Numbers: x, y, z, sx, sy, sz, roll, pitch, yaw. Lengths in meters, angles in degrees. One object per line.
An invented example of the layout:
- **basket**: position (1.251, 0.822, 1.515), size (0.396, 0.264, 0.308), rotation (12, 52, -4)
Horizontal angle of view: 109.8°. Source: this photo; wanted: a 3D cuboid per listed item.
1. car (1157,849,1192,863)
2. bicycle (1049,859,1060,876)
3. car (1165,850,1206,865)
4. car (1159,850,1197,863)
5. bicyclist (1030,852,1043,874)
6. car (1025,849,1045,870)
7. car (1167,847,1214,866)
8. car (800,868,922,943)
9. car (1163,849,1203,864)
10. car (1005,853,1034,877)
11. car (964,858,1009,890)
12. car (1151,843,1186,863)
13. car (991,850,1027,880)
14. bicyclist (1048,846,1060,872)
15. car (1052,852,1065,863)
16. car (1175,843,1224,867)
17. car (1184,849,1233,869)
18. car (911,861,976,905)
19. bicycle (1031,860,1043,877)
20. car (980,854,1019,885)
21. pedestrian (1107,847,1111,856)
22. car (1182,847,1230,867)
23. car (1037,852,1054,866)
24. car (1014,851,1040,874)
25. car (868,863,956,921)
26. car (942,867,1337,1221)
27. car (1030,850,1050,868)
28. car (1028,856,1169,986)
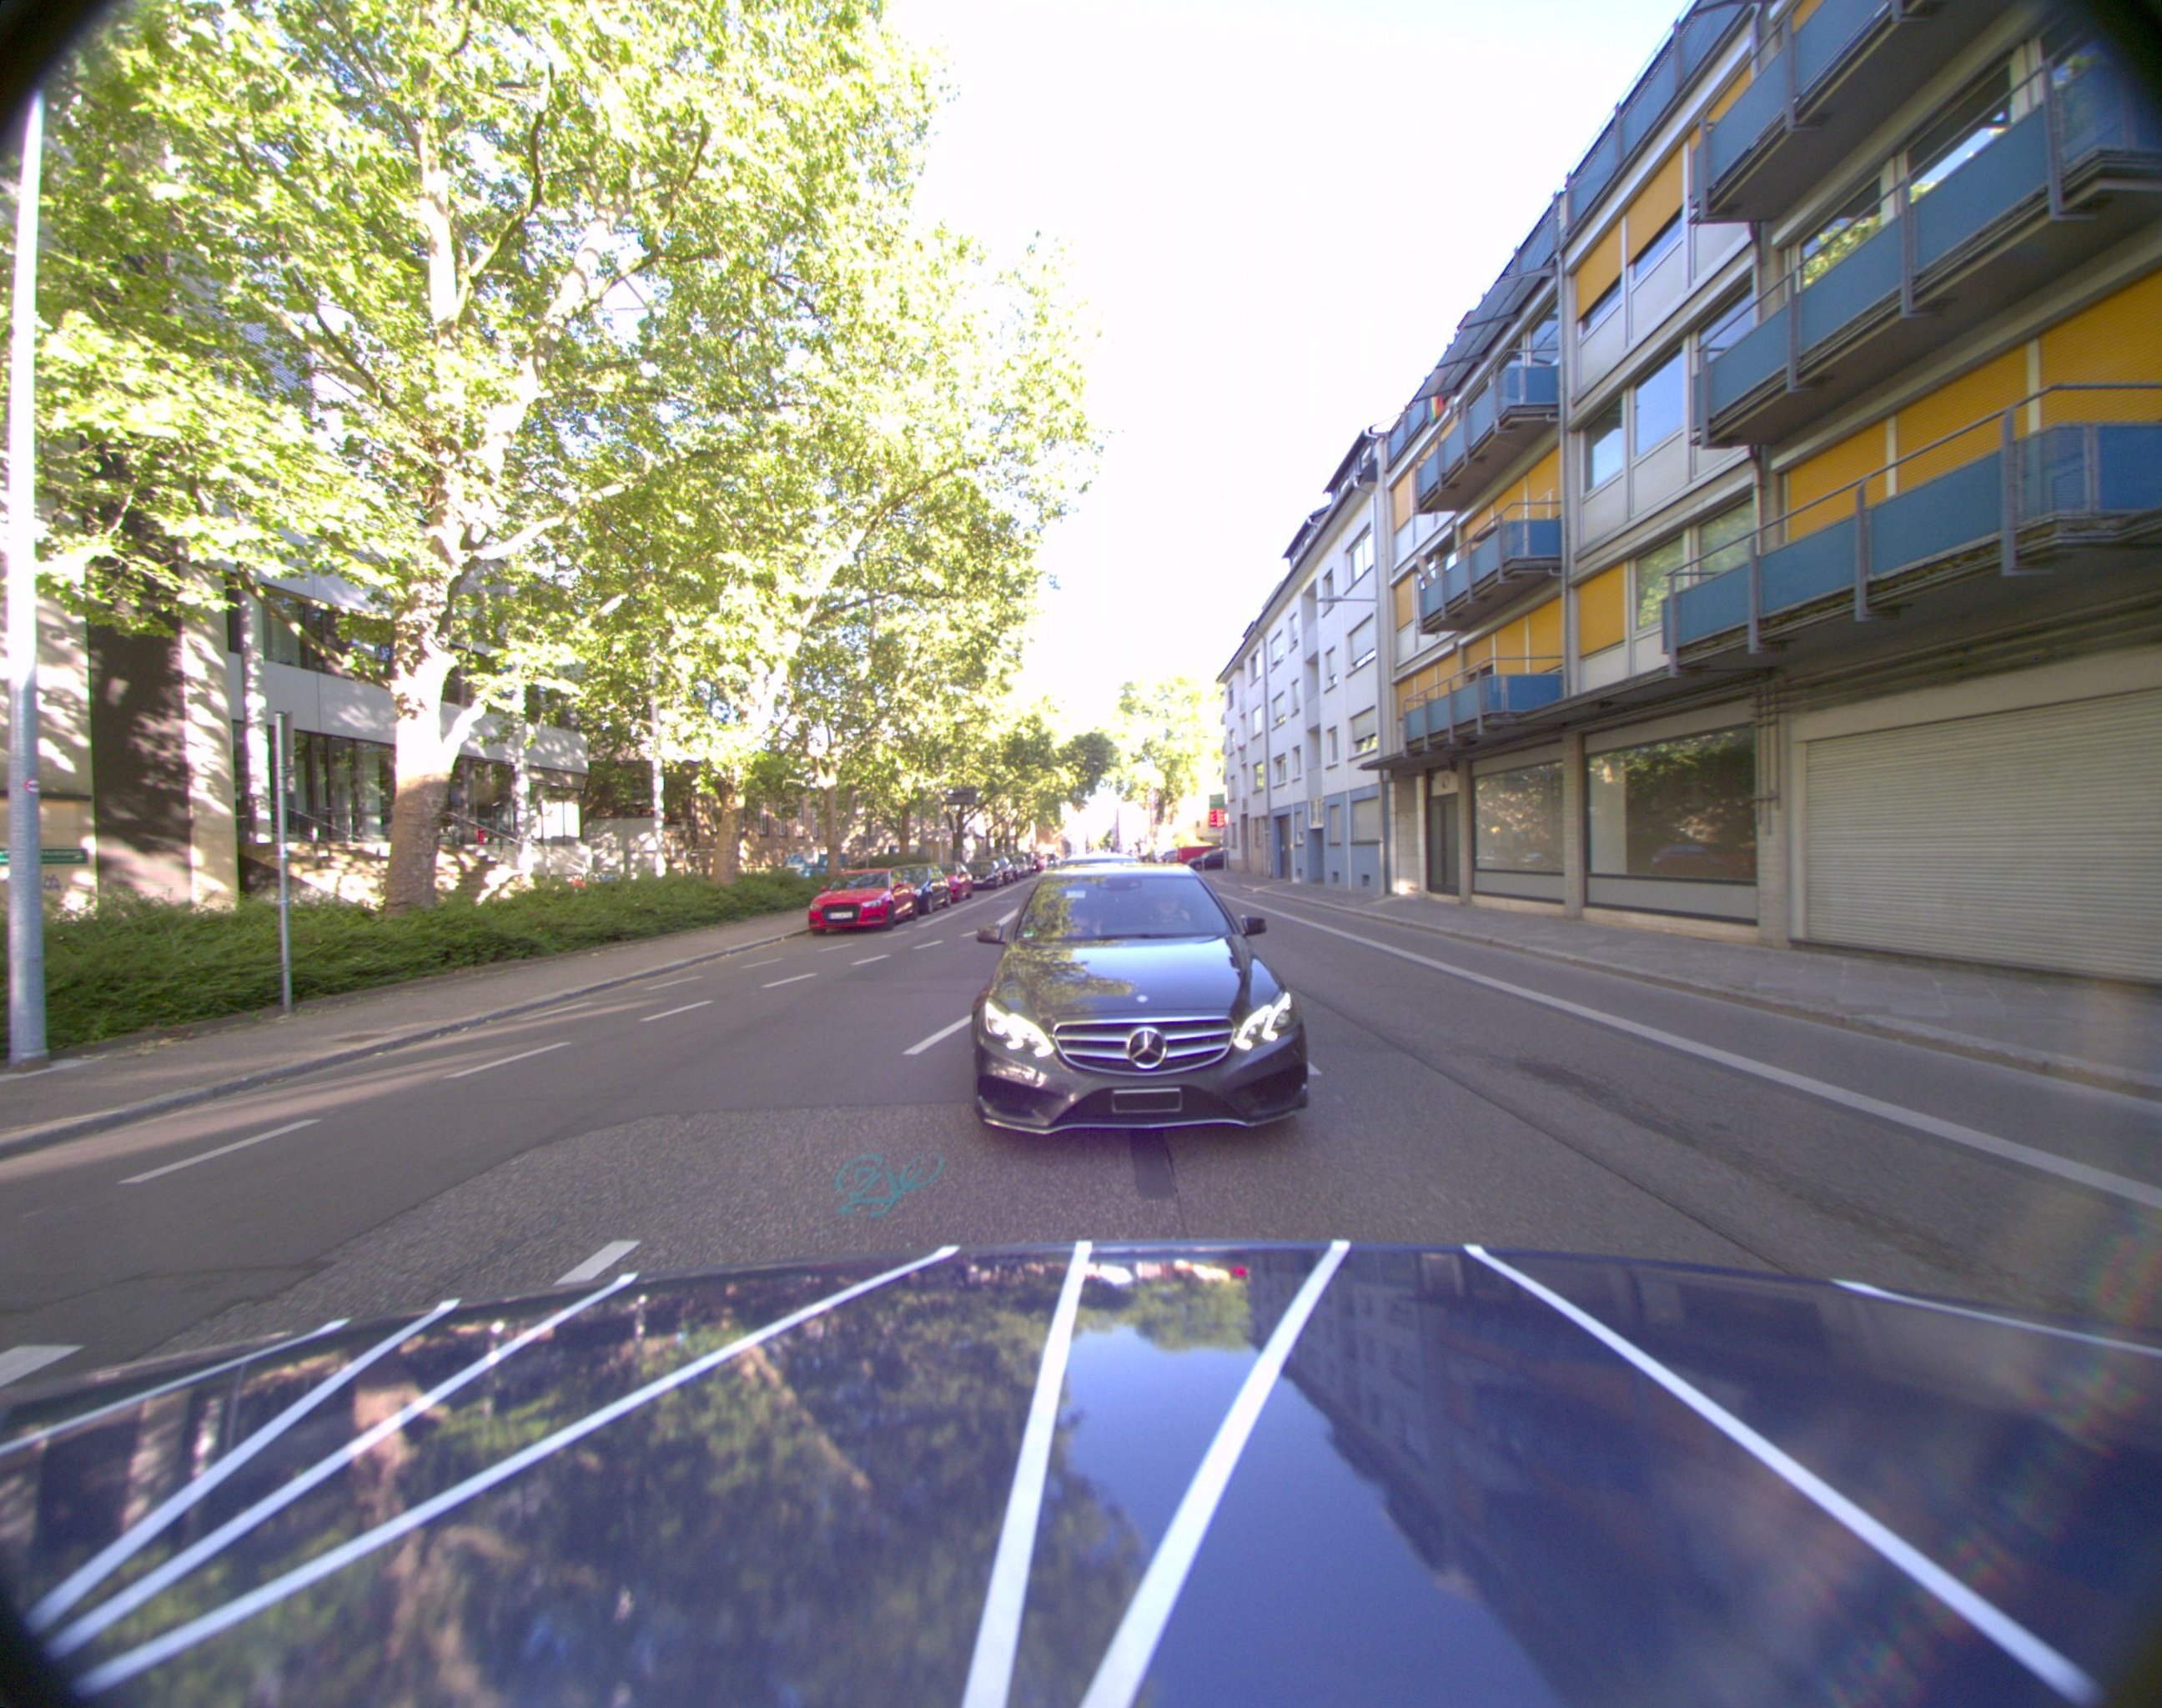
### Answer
- **car**: position (10.527, 0.185, 85.446), size (3.782, 1.432, 1.539), rotation (-2, 1, 2)
- **bicycle**: position (-1.829, 0.902, 52.272), size (0.667, 1.093, 1.814), rotation (-2, 1, 0)
- **car**: position (10.361, 0.320, 75.597), size (3.905, 1.366, 1.594), rotation (-2, 1, 2)
- **car**: position (10.516, 0.257, 82.761), size (3.905, 1.325, 1.525), rotation (-2, 1, 2)
- **bicyclist**: position (-3.054, 0.622, 52.313), size (0.756, 1.512, 0.768), rotation (-2, 1, -1)
- **car**: position (-4.263, 0.458, 70.854), size (1.646, 1.839, 3.836), rotation (-2, 0, 0)
- **car**: position (9.705, 0.213, 67.405), size (3.905, 1.577, 1.603), rotation (-2, 1, 2)
- **car**: position (-5.130, 1.146, 18.290), size (1.724, 1.412, 4.030), rotation (-4, 0, -1)
- **car**: position (10.392, 0.293, 77.618), size (3.905, 1.366, 1.594), rotation (-2, 1, 2)
- **car**: position (-4.433, 0.770, 55.141), size (1.686, 1.553, 3.868), rotation (-2, 0, 0)
- **car**: position (-4.669, 0.971, 38.033), size (1.686, 1.443, 4.000), rotation (-2, 0, 0)
- **car**: position (10.386, -0.131, 89.939), size (3.905, 2.164, 1.725), rotation (-2, 1, 2)
- **car**: position (-4.600, 0.677, 48.818), size (1.819, 1.758, 4.431), rotation (-2, 0, 0)
- **bicyclist**: position (-1.868, 0.349, 52.283), size (0.756, 1.714, 0.768), rotation (-2, 1, -1)
- **car**: position (-3.148, 0.457, 107.456), size (1.686, 1.475, 3.836), rotation (-2, 0, 0)
- **car**: position (10.065, 0.052, 64.610), size (3.905, 1.895, 1.749), rotation (-2, 1, 2)
- **car**: position (9.952, 0.353, 59.361), size (3.598, 1.401, 1.534), rotation (-2, 0, 2)
- **car**: position (-5.010, 1.034, 28.233), size (1.666, 1.426, 3.781), rotation (-2, 0, 0)
- **bicycle**: position (-3.024, 0.974, 52.372), size (0.667, 1.093, 1.814), rotation (-2, 1, 0)
- **car**: position (-4.541, 0.823, 42.692), size (1.686, 1.610, 3.836), rotation (-2, 0, 0)
- **pedestrian**: position (7.022, -0.679, 192.796), size (0.884, 2.108, 0.821), rotation (-2, 1, 1)
- **car**: position (10.120, 0.249, 61.766), size (3.668, 1.501, 1.602), rotation (-2, 1, 2)
- **car**: position (-4.067, 0.586, 87.690), size (1.639, 1.493, 3.752), rotation (-2, 0, 0)
- **car**: position (-4.225, 0.640, 59.997), size (1.663, 1.704, 3.836), rotation (-2, 0, 0)
- **car**: position (-5.012, 1.077, 23.048), size (1.686, 1.458, 4.000), rotation (-3, 0, 0)
- **car**: position (0.274, 0.940, 5.761), size (1.828, 1.495, 4.293), rotation (-2, 1, 0)
- **car**: position (-4.110, 0.494, 76.645), size (1.686, 1.749, 3.836), rotation (-2, 0, 0)
- **car**: position (0.211, 0.857, 11.811), size (1.732, 1.538, 4.293), rotation (-2, 1, 0)
